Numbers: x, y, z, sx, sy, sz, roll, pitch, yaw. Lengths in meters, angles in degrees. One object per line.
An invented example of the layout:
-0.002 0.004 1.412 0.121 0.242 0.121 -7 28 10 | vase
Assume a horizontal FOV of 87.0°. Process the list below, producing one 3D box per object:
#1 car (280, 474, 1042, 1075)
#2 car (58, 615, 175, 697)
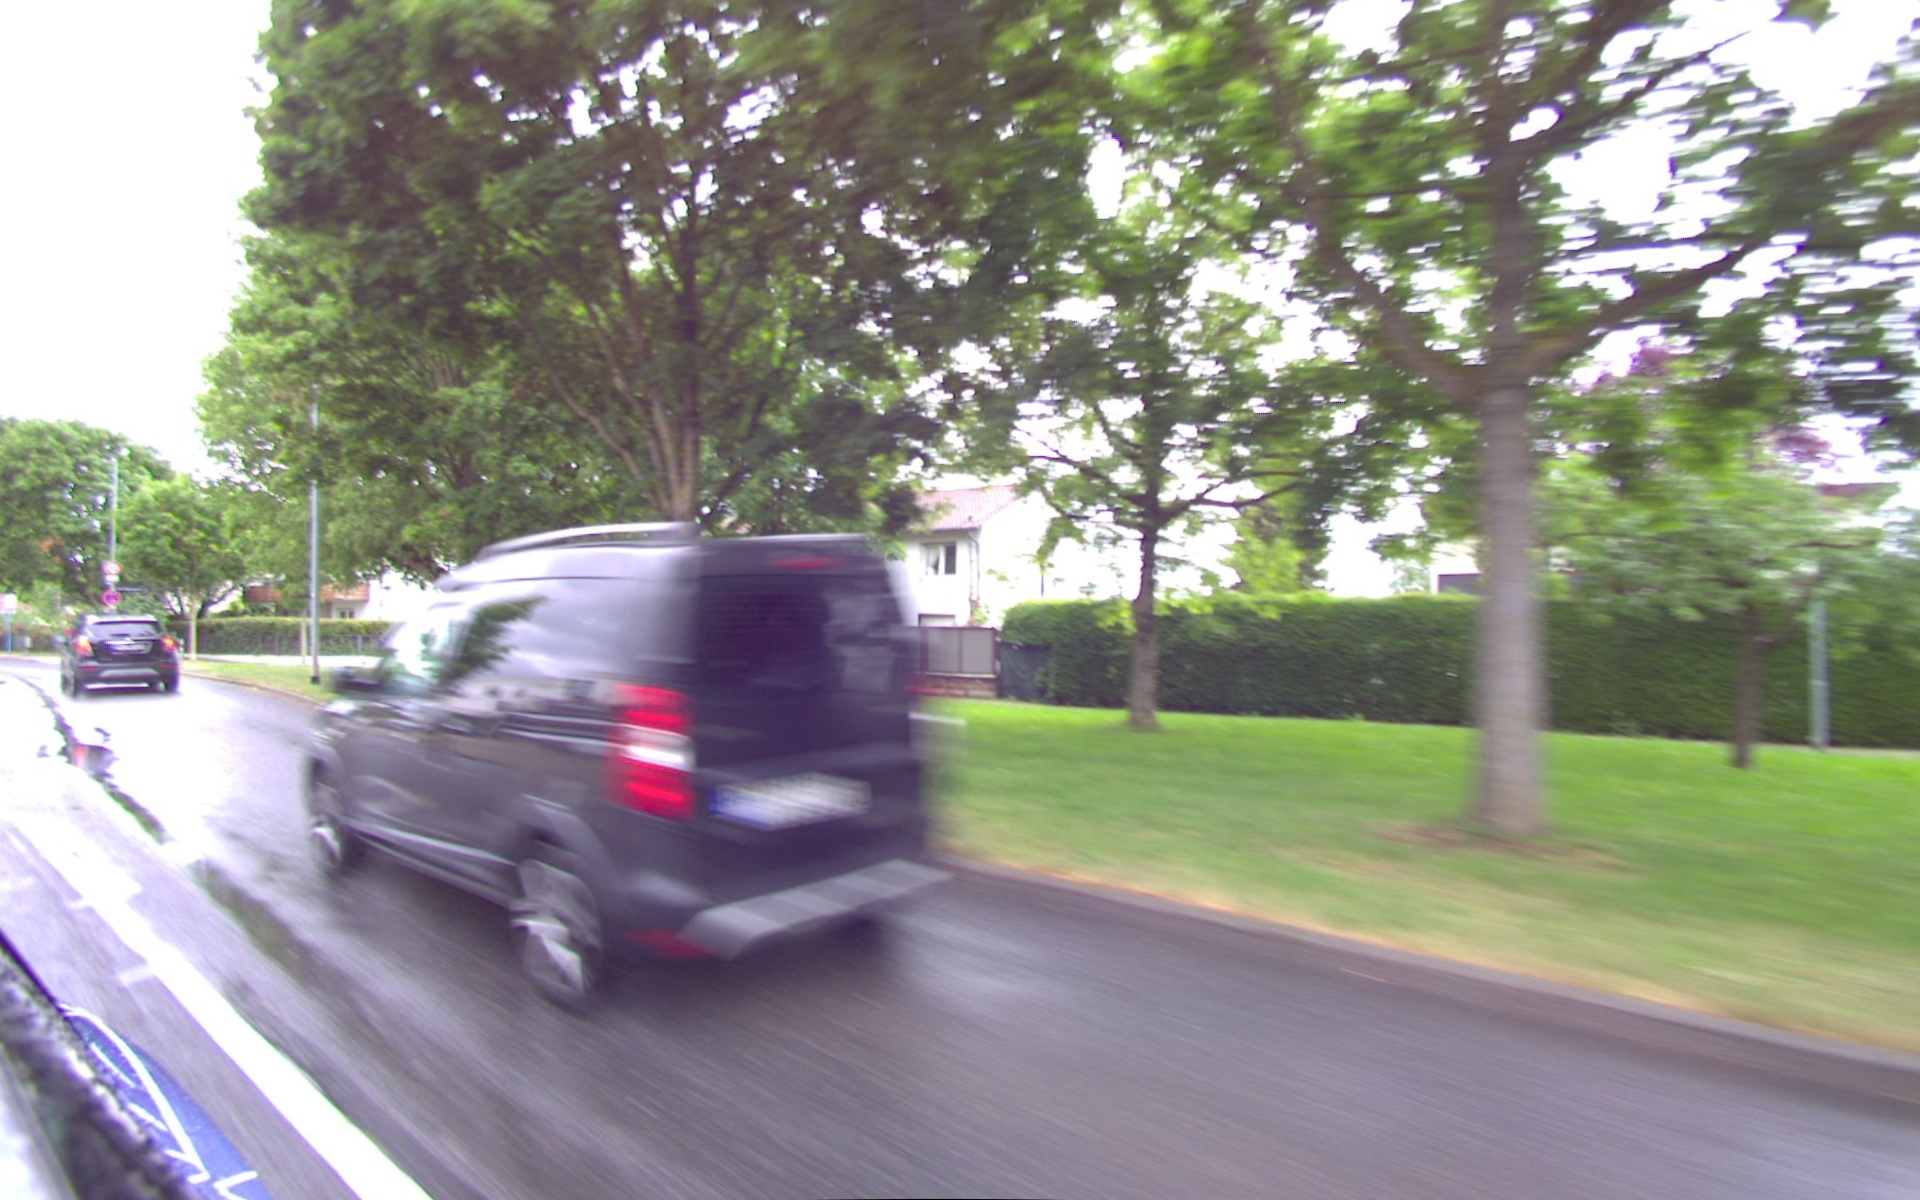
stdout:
-1.810 0.566 5.131 4.285 1.787 1.757 -1 -2 43 | car
-18.357 1.159 21.968 1.689 1.609 4.175 1 -2 -43 | car
